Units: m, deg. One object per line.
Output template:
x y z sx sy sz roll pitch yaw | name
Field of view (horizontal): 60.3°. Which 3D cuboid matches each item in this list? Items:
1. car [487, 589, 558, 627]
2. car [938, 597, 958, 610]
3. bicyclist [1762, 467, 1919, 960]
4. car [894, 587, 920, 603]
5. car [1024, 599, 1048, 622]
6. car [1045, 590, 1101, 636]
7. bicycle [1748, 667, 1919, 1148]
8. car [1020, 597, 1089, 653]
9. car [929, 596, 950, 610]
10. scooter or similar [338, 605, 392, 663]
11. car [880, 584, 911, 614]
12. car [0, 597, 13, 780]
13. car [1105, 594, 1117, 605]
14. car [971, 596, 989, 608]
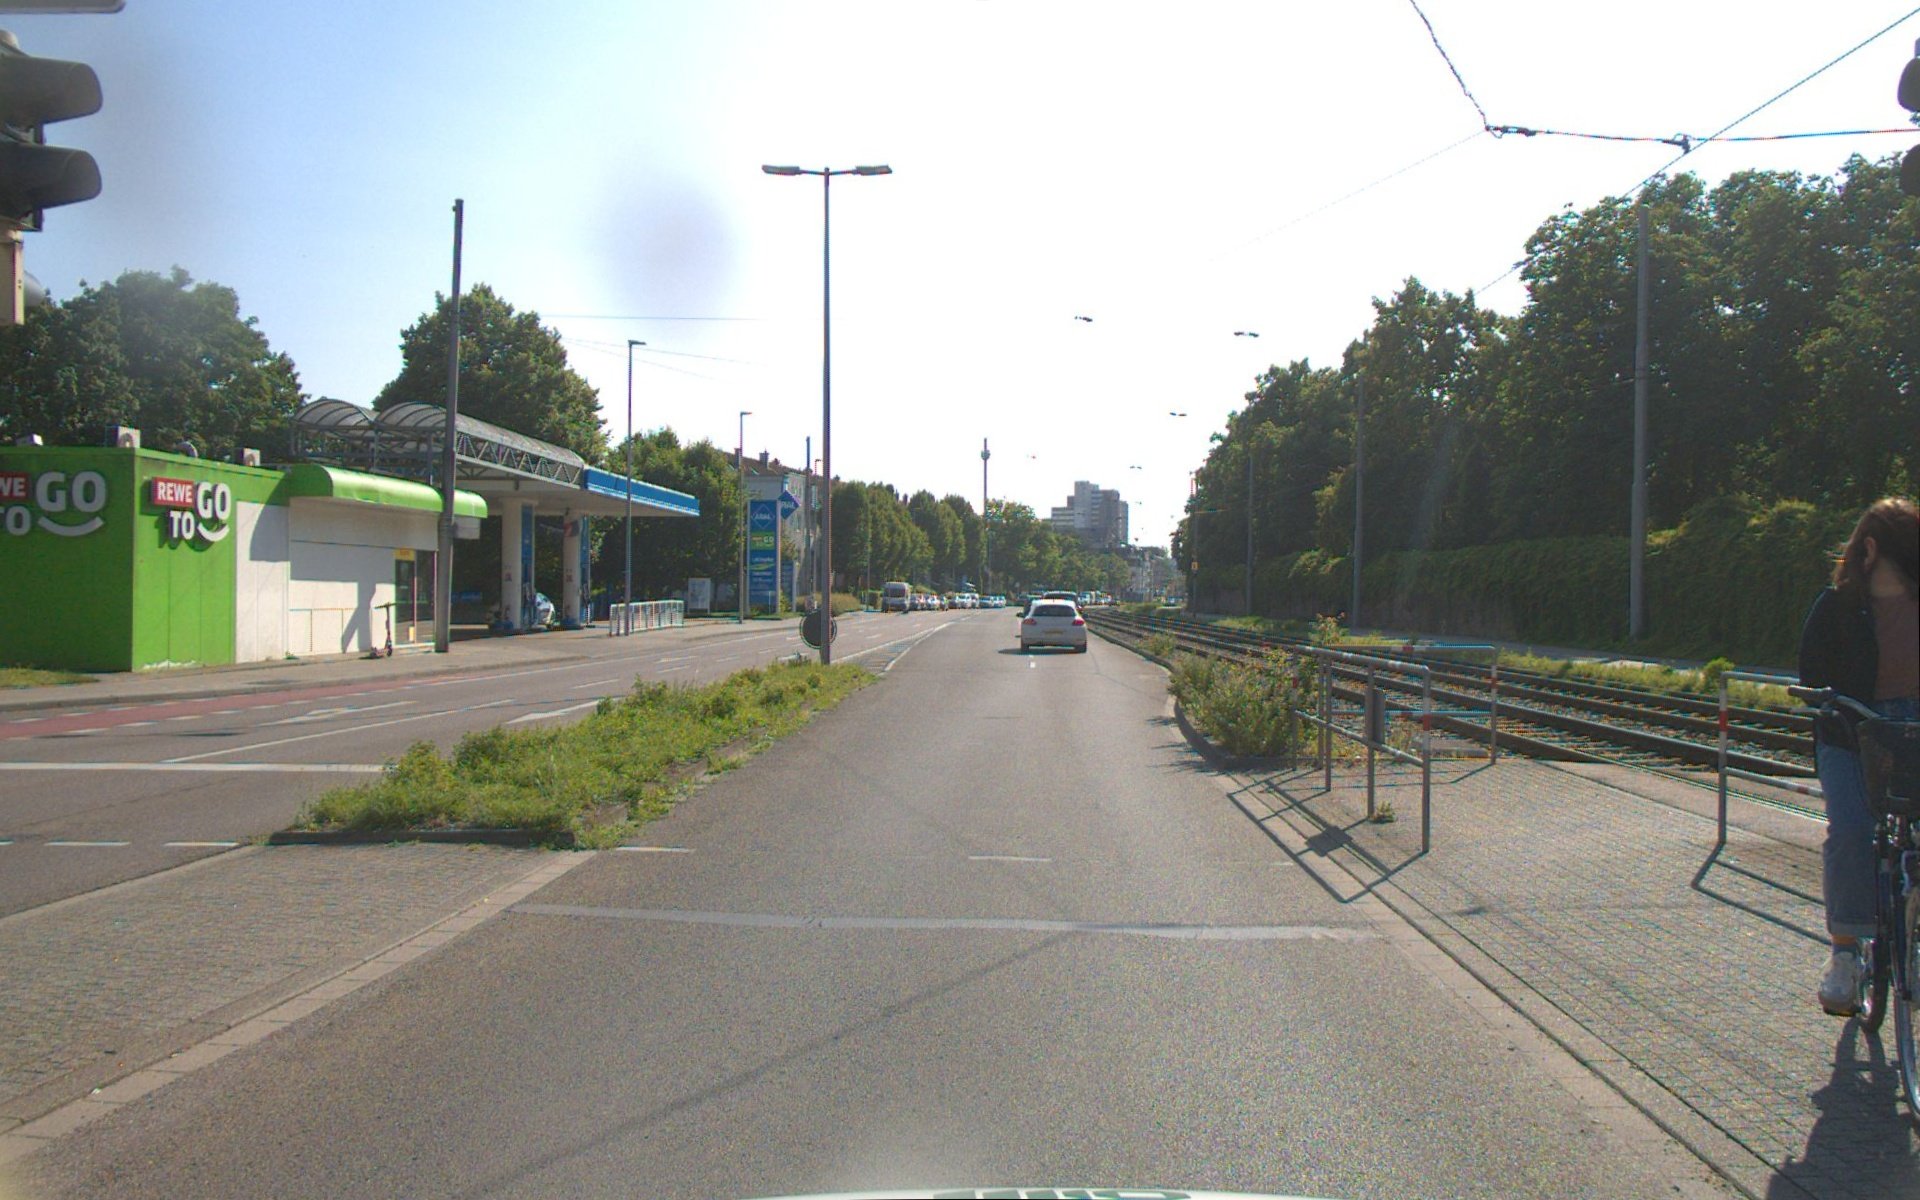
-17.479 0.296 66.226 1.708 1.418 4.121 0 1 1 | car
-1.326 0.368 184.283 1.951 1.441 3.846 0 1 4 | car
2.997 0.330 5.299 0.630 1.440 1.013 0 0 18 | bicyclist
-4.842 -0.462 150.632 1.951 1.441 3.846 0 1 4 | car
5.466 0.749 118.947 1.712 1.511 3.602 2 1 2 | car
4.258 0.461 62.734 1.689 1.620 3.600 2 1 -2 | car
2.976 0.845 5.202 0.630 1.174 1.938 0 0 17 | bicycle
2.549 0.641 45.112 1.744 1.380 3.602 2 1 2 | car
-2.138 0.302 172.740 1.951 1.441 3.846 0 1 4 | car
-12.995 0.735 36.144 0.521 1.194 1.311 5 1 5 | scooter or similar
-5.257 -0.088 134.929 1.951 2.418 4.541 0 0 5 | car
-8.405 0.709 11.569 1.541 1.441 3.335 0 0 2 | car
23.541 -0.103 257.260 1.687 1.620 3.604 2 1 8 | car
2.490 0.203 205.681 1.951 1.441 3.846 0 1 4 | car
